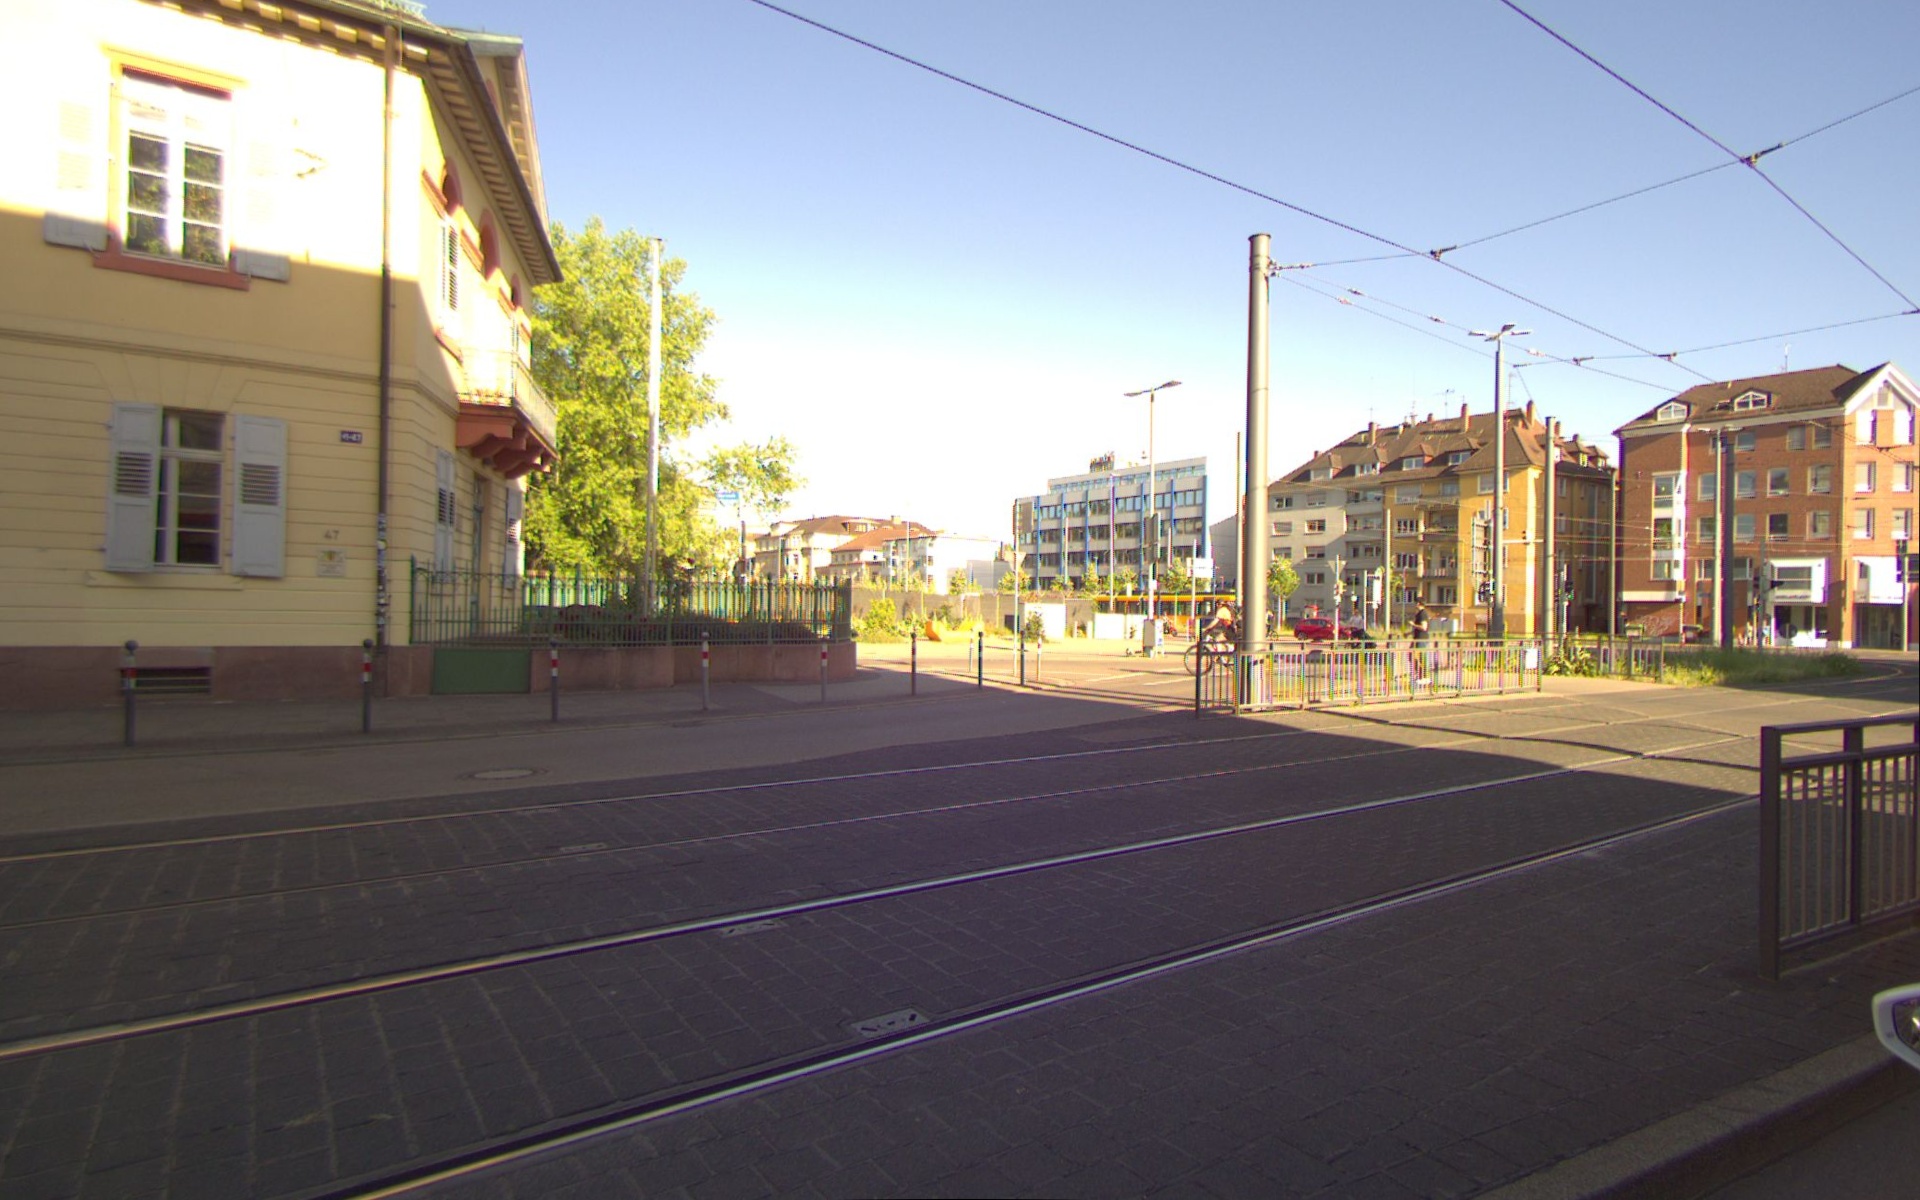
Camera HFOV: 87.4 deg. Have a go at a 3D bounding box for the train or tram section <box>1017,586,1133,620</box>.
[{"bbox_3d":[11.402,0.248,101.744,2.711,3.172,13.558,2,0,-40],"label":"train or tram section"}]

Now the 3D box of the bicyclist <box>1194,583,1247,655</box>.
[{"bbox_3d":[5.767,0.417,22.223,1.027,1.542,0.390,2,0,37],"label":"bicyclist"}]

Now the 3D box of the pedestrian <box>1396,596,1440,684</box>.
[{"bbox_3d":[9.181,0.787,20.134,0.583,1.703,0.771,2,0,40],"label":"pedestrian"}]

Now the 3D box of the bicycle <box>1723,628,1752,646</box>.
[{"bbox_3d":[45.573,2.168,58.858,2.220,0.984,0.521,2,0,-31],"label":"bicycle"}]

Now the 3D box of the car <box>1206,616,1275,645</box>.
[{"bbox_3d":[18.000,1.942,64.576,1.762,1.694,3.955,2,0,-39],"label":"car"}]

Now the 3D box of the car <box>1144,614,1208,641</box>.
[{"bbox_3d":[14.740,1.872,68.567,1.895,1.708,3.916,2,0,-41],"label":"car"}]

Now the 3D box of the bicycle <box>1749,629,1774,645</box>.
[{"bbox_3d":[50.365,2.337,63.111,1.669,0.994,0.403,2,0,-22],"label":"bicycle"}]

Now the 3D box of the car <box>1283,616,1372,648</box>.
[{"bbox_3d":[21.866,1.885,59.894,1.984,1.723,4.545,2,0,-41],"label":"car"}]

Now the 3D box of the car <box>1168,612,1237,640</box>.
[{"bbox_3d":[14.585,1.555,60.637,1.631,1.546,3.821,2,0,-39],"label":"car"}]

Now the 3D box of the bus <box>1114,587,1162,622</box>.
[{"bbox_3d":[16.890,0.379,95.121,2.748,3.172,3.487,2,0,-39],"label":"bus"}]

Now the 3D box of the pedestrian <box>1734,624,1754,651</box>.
[{"bbox_3d":[53.777,2.576,68.887,0.737,1.845,0.781,2,0,-28],"label":"pedestrian"}]

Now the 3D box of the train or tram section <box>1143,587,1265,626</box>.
[{"bbox_3d":[21.467,0.488,89.410,2.781,3.172,11.140,2,0,-39],"label":"train or tram section"}]

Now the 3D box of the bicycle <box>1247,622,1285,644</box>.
[{"bbox_3d":[18.445,2.004,60.570,0.542,1.230,2.168,2,0,-41],"label":"bicycle"}]

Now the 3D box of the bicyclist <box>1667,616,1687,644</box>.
[{"bbox_3d":[39.497,1.639,55.312,0.688,1.523,0.630,2,0,-30],"label":"bicyclist"}]

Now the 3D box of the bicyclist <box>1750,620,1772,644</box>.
[{"bbox_3d":[50.354,1.985,63.141,0.958,1.490,0.702,1,0,-22],"label":"bicyclist"}]

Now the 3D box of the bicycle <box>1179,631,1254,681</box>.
[{"bbox_3d":[5.678,1.222,22.281,1.576,1.007,0.402,2,0,36],"label":"bicycle"}]

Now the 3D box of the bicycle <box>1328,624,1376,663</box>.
[{"bbox_3d":[12.789,1.425,32.773,1.835,1.238,0.481,2,0,-34],"label":"bicycle"}]

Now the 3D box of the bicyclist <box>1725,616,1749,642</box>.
[{"bbox_3d":[45.527,1.697,58.844,0.688,1.523,0.894,2,0,-30],"label":"bicyclist"}]

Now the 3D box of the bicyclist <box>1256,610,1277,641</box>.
[{"bbox_3d":[18.474,1.518,60.556,0.785,1.832,0.892,2,0,-42],"label":"bicyclist"}]

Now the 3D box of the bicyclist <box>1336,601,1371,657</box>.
[{"bbox_3d":[12.867,0.945,32.839,0.745,1.783,0.751,2,0,-34],"label":"bicyclist"}]

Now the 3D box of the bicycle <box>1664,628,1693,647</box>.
[{"bbox_3d":[39.632,2.060,55.399,2.220,0.984,0.444,2,0,-31],"label":"bicycle"}]
